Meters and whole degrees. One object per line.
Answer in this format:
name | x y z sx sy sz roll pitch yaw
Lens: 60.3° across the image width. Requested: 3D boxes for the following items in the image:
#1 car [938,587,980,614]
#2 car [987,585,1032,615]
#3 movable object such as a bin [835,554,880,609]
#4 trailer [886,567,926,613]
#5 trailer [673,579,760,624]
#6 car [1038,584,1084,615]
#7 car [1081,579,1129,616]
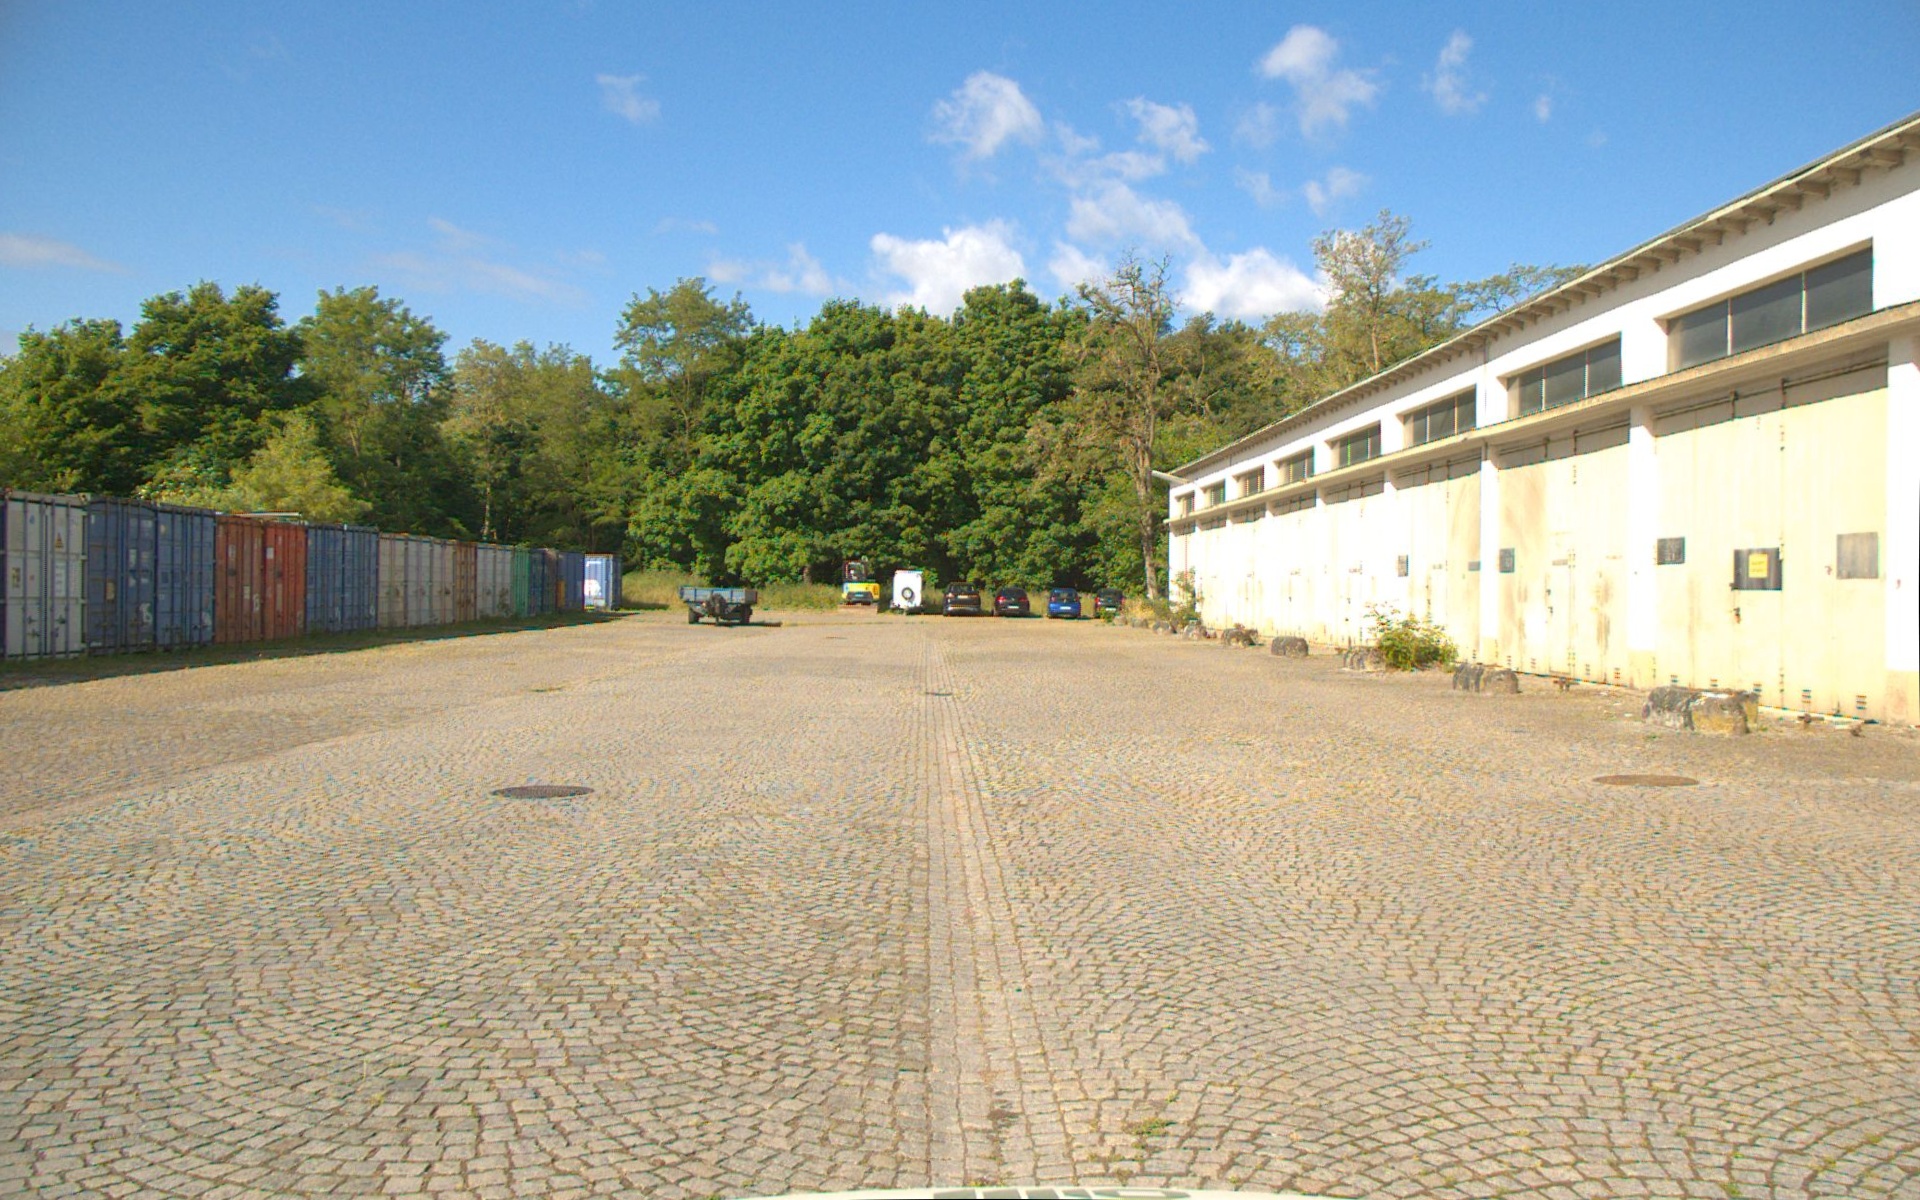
car | -0.053 0.003 81.167 1.953 1.280 3.999 0 0 -2
car | 2.415 -0.011 81.609 1.953 1.449 3.999 0 0 -2
movable object such as a bin | -5.123 -0.919 83.014 2.188 2.703 3.997 0 0 -4
trailer | -2.694 -0.505 82.325 1.953 2.200 4.430 0 0 -2
trailer | -9.281 0.041 63.586 2.735 1.675 5.618 0 0 -2
car | 4.954 -0.036 81.669 1.953 1.491 3.999 0 0 -2
car | 7.241 -0.154 82.977 1.953 1.803 3.999 0 0 -2
